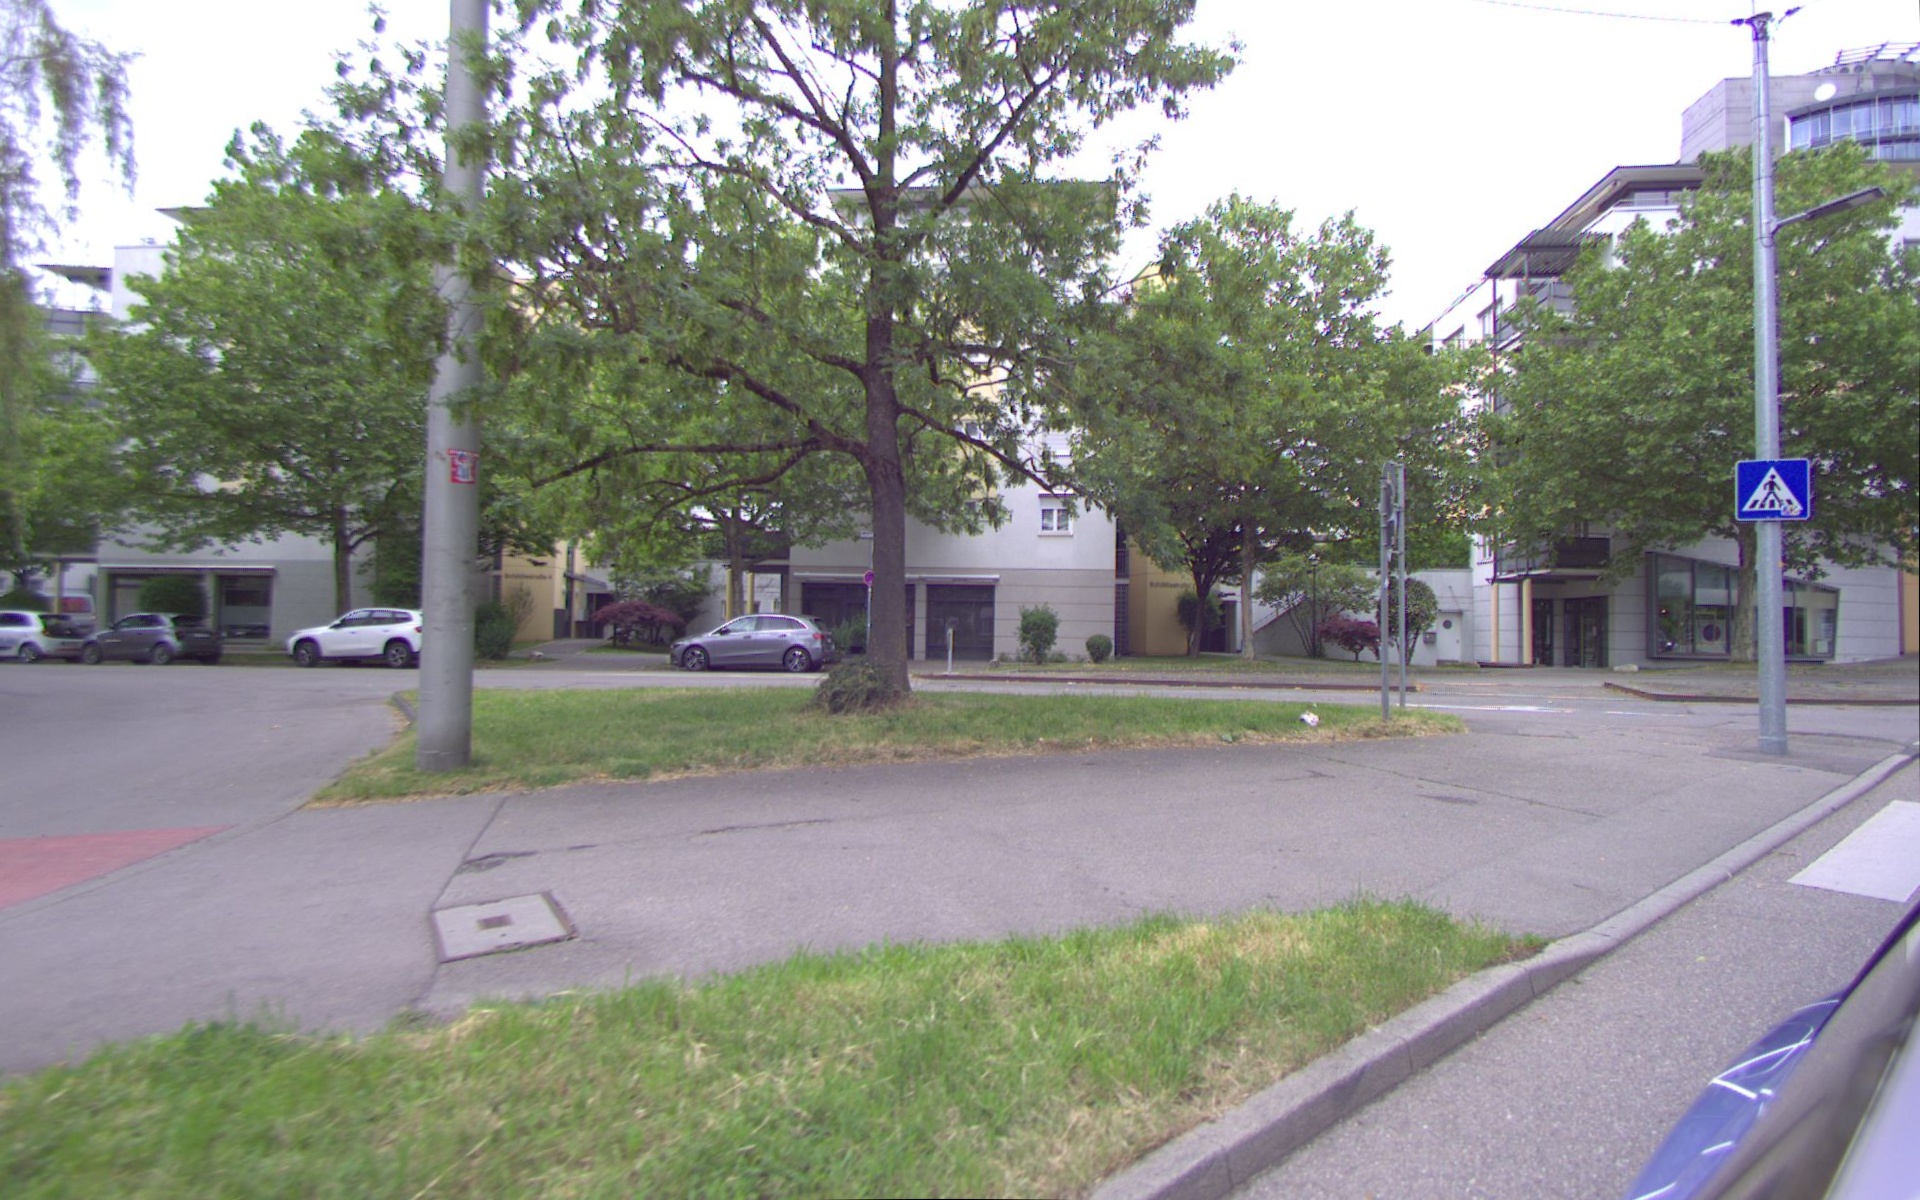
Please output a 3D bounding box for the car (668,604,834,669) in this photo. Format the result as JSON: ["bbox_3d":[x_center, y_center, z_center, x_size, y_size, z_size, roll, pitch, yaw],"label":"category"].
[{"bbox_3d":[-5.475,1.001,26.793,3.947,1.590,1.877,-1,-4,5],"label":"car"}]

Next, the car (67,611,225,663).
[{"bbox_3d":[-23.375,1.089,29.110,3.386,1.393,1.643,-1,-4,8],"label":"car"}]

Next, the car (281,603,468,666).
[{"bbox_3d":[-15.979,0.972,27.726,4.174,1.619,1.780,-1,-3,6],"label":"car"}]

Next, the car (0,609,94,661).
[{"bbox_3d":[-27.863,1.054,29.720,3.377,1.445,1.647,0,-4,-2],"label":"car"}]
